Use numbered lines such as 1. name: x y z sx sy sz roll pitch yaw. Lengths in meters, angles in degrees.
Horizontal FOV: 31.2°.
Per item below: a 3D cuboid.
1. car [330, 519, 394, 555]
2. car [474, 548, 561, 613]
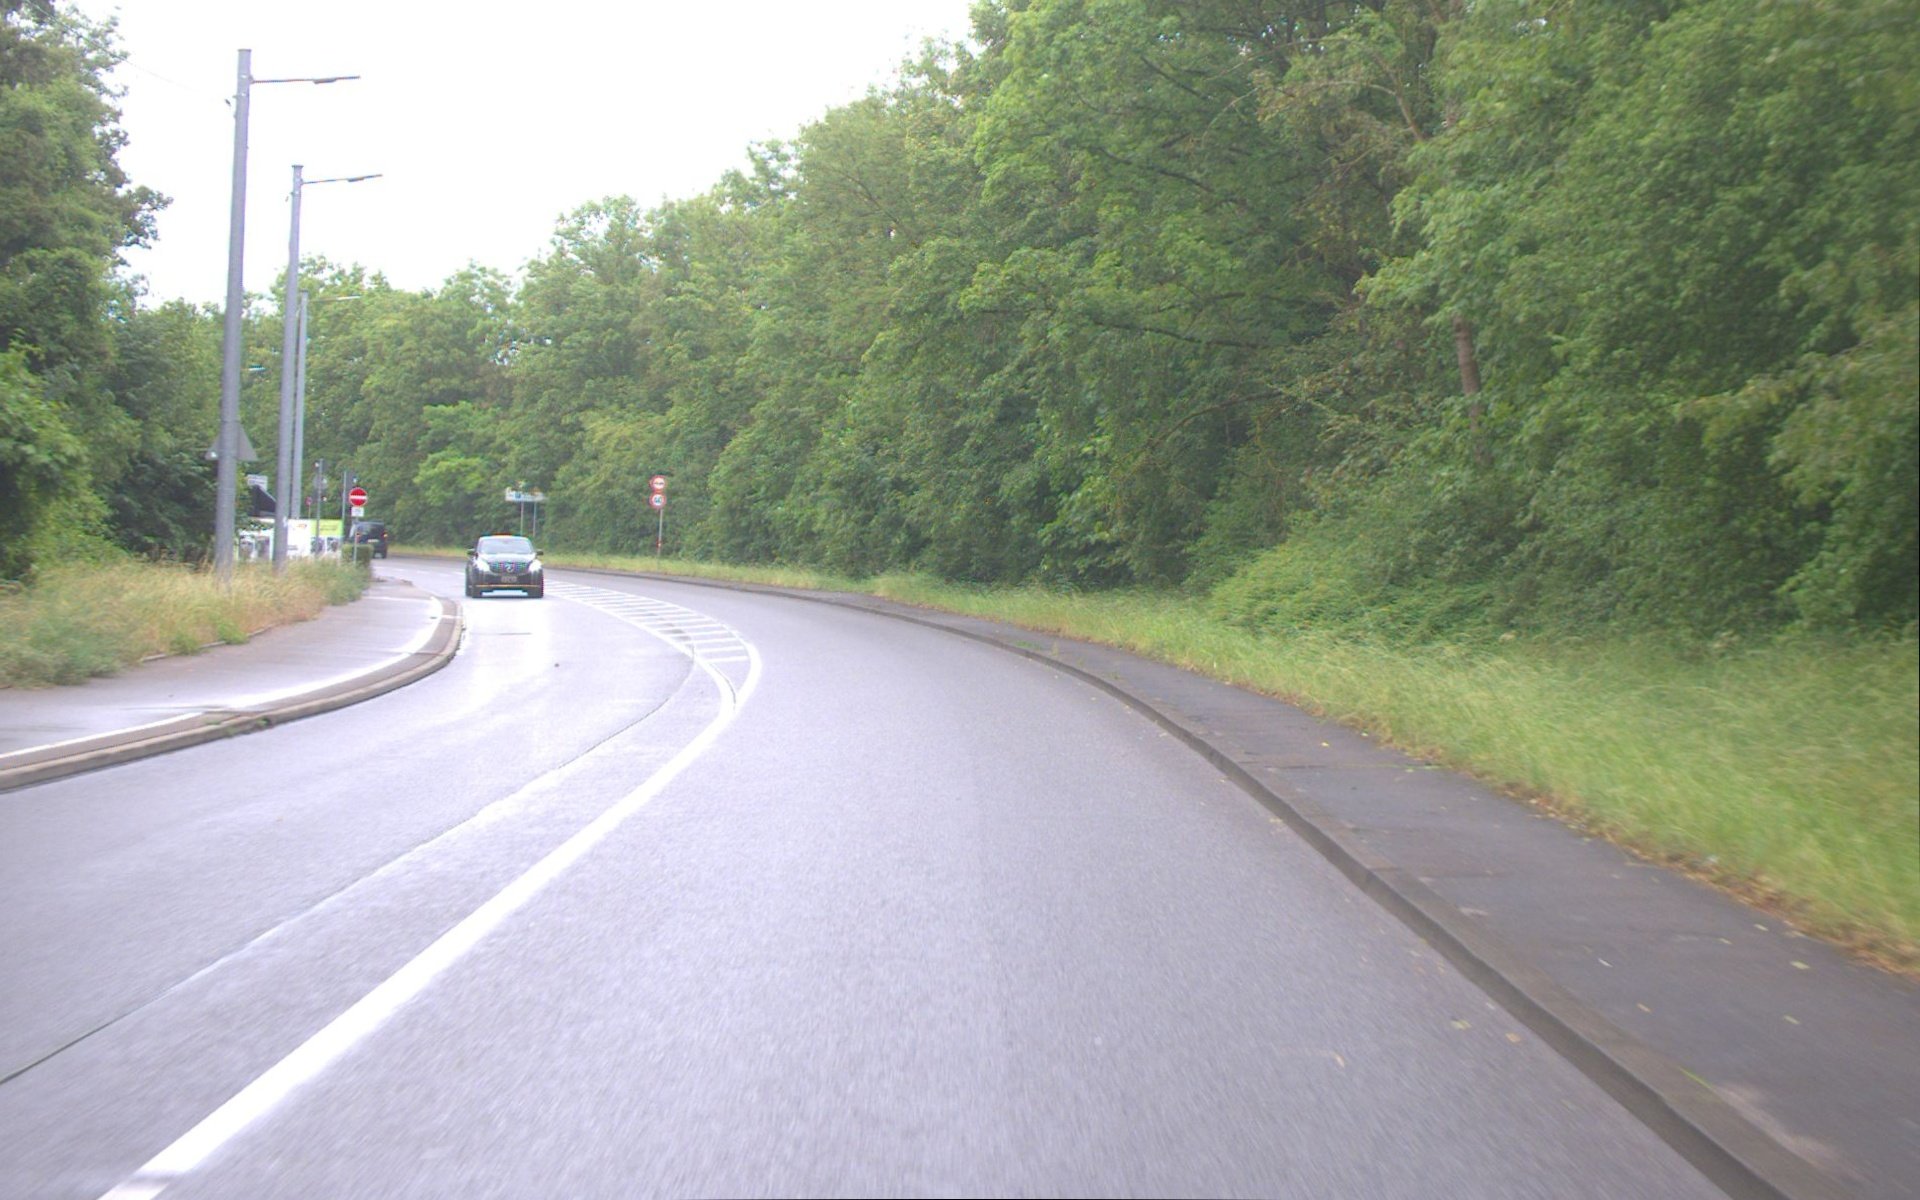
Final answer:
1. car: -30.239 -3.209 173.796 1.867 1.590 4.001 -2 4 -30
2. car: -12.565 -0.568 97.454 1.993 1.781 4.709 0 1 -13
